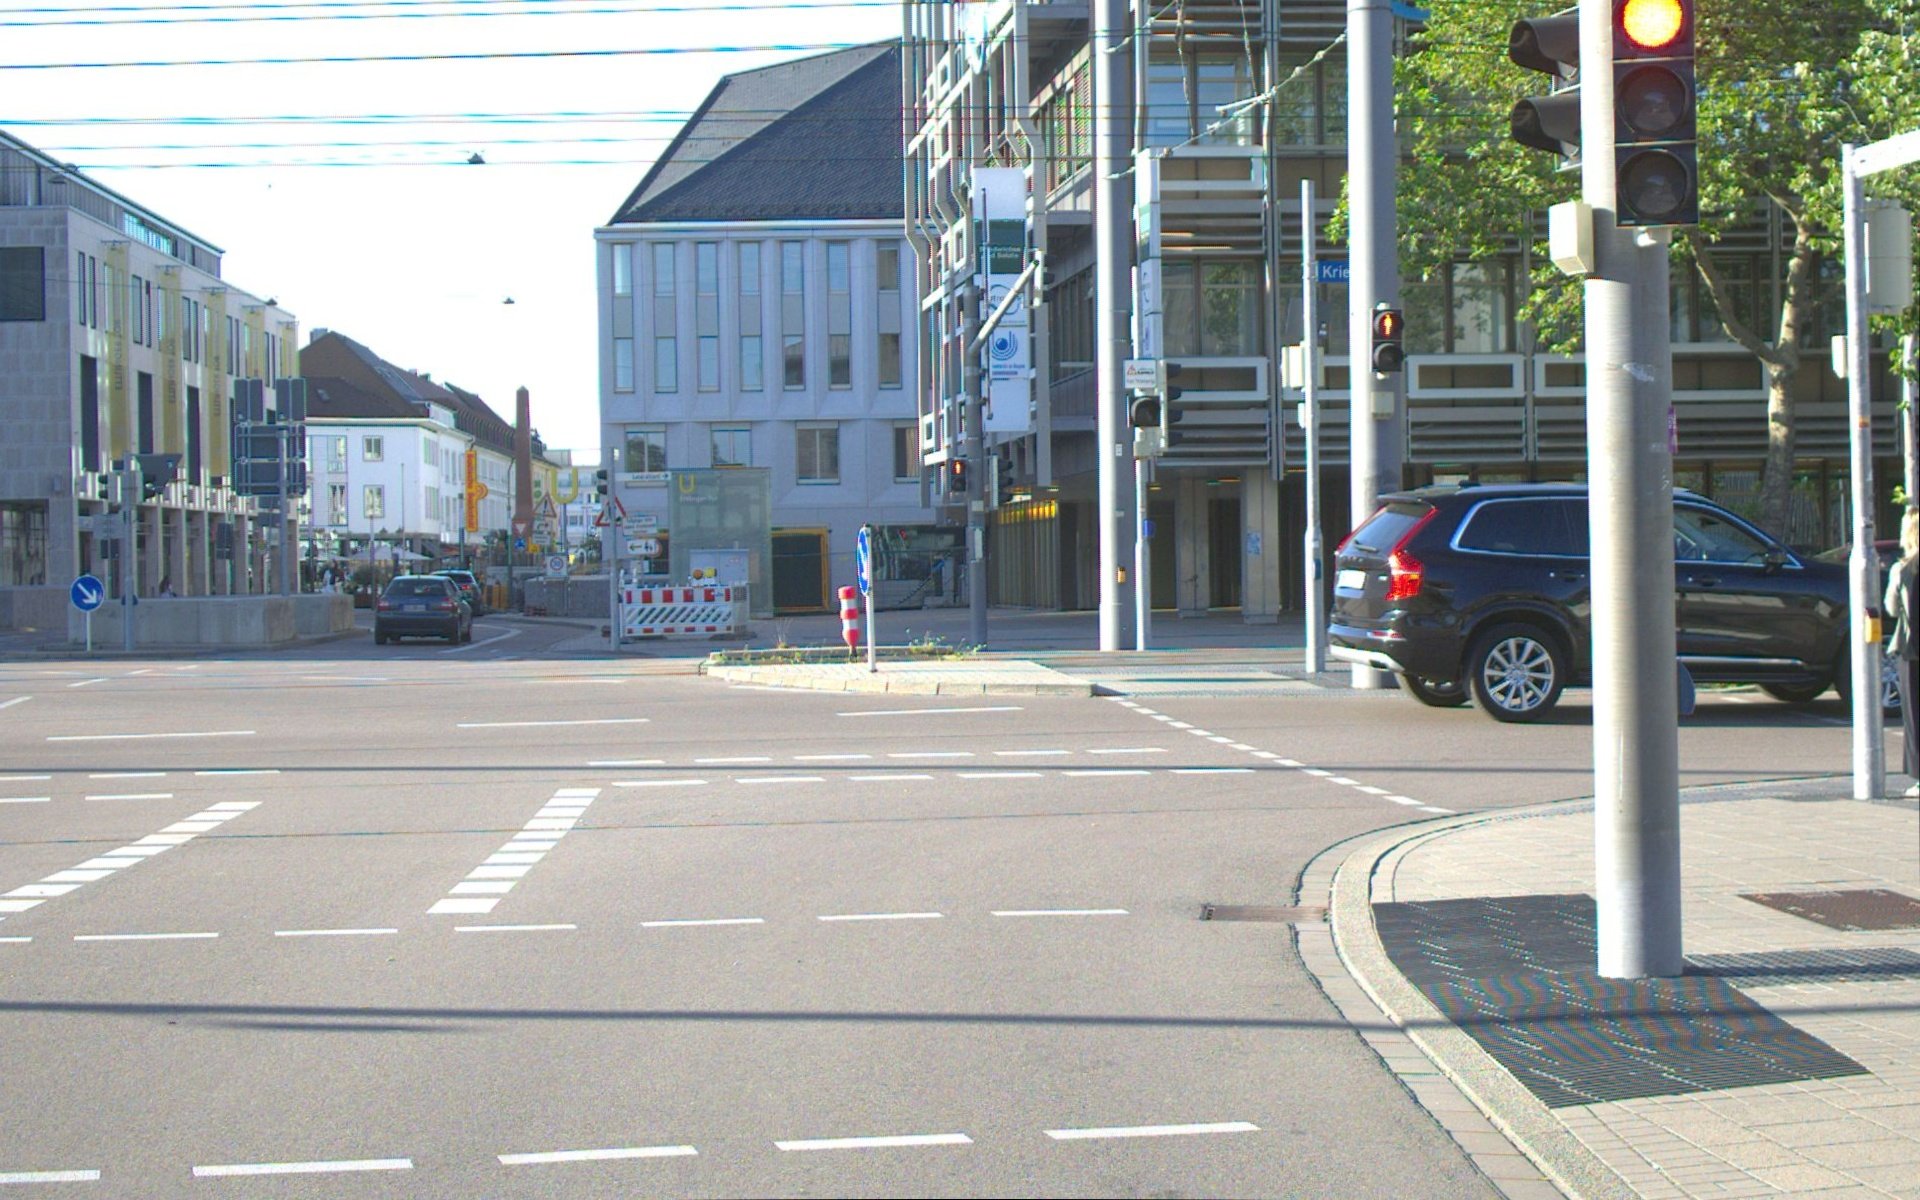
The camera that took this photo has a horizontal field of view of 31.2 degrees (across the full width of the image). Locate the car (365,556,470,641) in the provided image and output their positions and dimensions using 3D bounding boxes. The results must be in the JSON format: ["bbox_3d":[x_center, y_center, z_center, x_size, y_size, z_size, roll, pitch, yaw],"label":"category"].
[{"bbox_3d":[-11.168,-0.055,71.000,1.819,1.678,4.001,-1,1,-5],"label":"car"}]

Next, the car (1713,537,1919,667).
[{"bbox_3d":[12.575,-0.002,46.454,4.287,1.678,1.826,-1,1,-10],"label":"car"}]

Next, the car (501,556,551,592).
[{"bbox_3d":[-18.412,-1.112,145.917,1.658,1.453,3.542,-1,1,-1],"label":"car"}]

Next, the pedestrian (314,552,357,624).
[{"bbox_3d":[-15.560,-0.314,85.690,0.899,1.776,0.808,-1,1,-1],"label":"pedestrian"}]

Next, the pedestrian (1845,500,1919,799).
[{"bbox_3d":[5.388,0.255,18.945,0.765,1.608,0.874,-1,1,-2],"label":"pedestrian"}]

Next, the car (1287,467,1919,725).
[{"bbox_3d":[5.125,-0.064,26.596,4.815,1.857,1.887,-1,1,-11],"label":"car"}]

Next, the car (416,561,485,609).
[{"bbox_3d":[-16.013,-0.484,108.084,1.658,1.453,3.542,-1,1,-1],"label":"car"}]

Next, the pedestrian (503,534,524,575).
[{"bbox_3d":[-21.387,-2.163,164.691,0.910,1.958,0.823,1,0,-1],"label":"pedestrian"}]
